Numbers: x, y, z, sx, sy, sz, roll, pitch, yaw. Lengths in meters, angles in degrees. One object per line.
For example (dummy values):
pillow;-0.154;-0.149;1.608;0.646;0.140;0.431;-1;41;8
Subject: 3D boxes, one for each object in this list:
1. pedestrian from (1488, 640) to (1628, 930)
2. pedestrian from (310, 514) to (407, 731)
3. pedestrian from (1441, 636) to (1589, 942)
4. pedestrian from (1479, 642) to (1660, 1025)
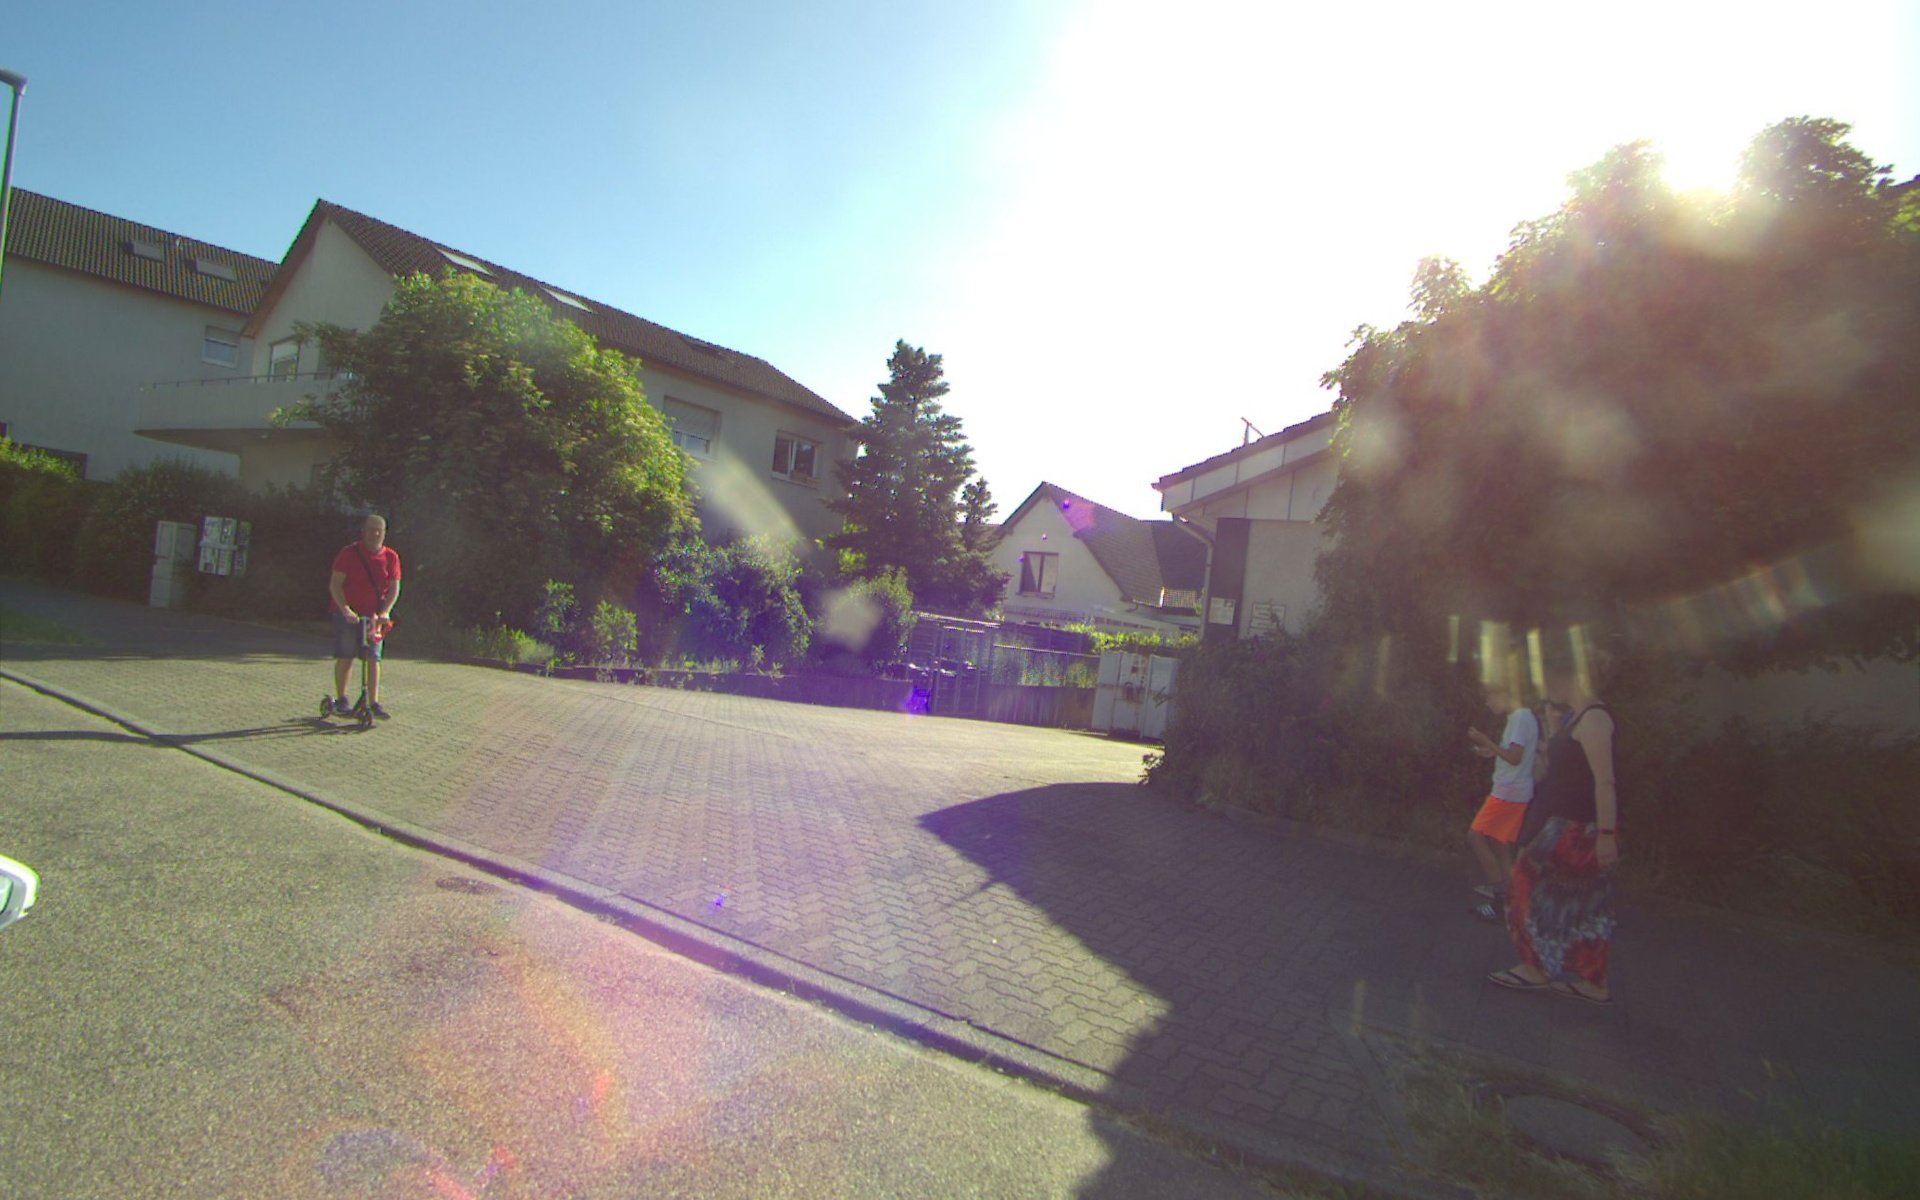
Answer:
pedestrian;3.751;1.120;6.305;0.538;1.656;0.567;7;0;37
pedestrian;-5.363;0.193;8.977;0.478;1.856;0.484;7;3;30
pedestrian;3.314;1.087;5.995;0.538;1.656;0.567;7;0;37
pedestrian;2.948;1.070;4.856;0.538;1.656;0.567;7;0;37
